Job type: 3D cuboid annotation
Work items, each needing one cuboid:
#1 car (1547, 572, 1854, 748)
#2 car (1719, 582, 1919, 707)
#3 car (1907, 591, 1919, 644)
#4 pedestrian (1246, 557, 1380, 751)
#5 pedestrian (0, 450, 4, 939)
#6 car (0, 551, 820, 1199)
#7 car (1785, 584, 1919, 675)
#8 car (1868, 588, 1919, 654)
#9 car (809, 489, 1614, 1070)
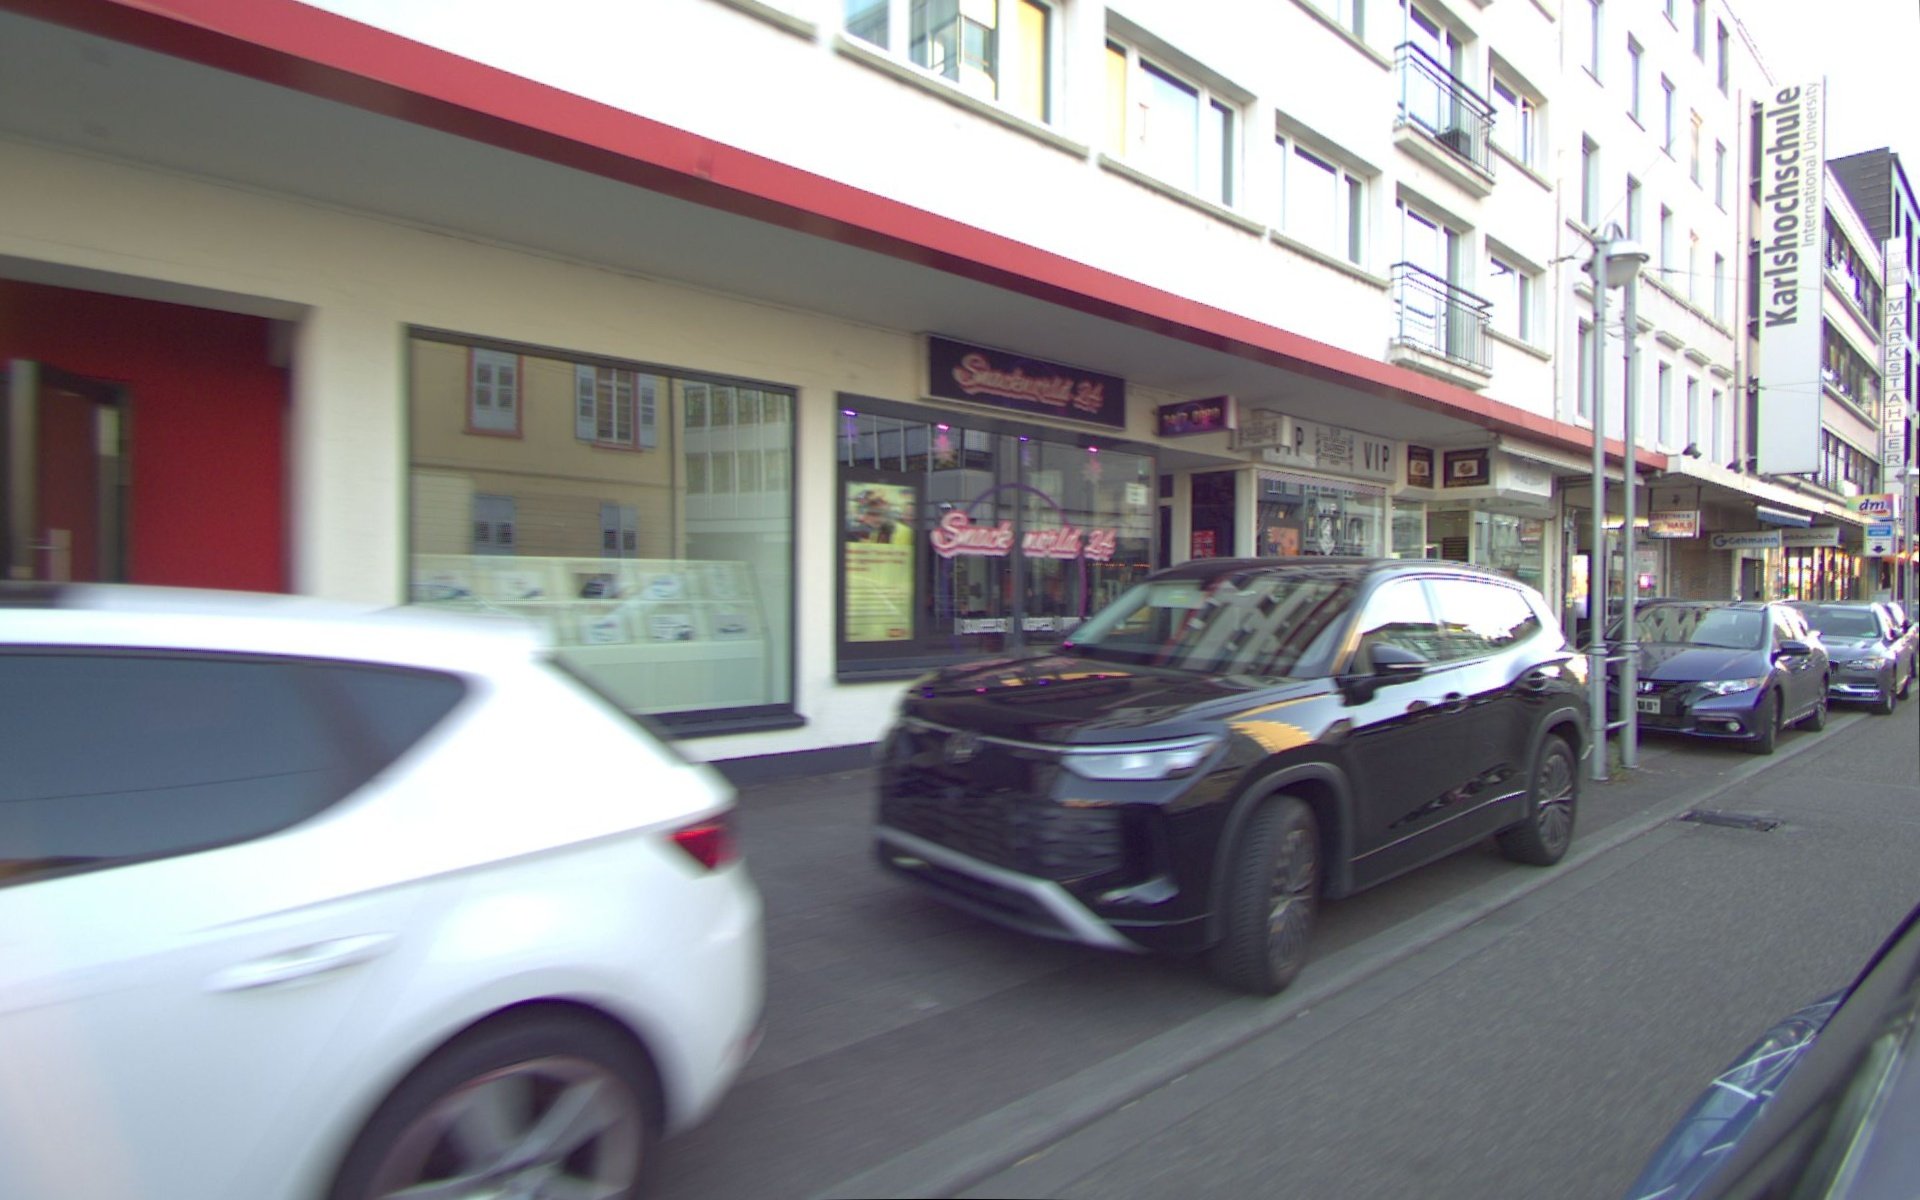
[{"bbox_3d":[8.152,0.536,10.995,4.281,1.542,1.784,0,-1,-41],"label":"car"},{"bbox_3d":[12.776,0.531,14.806,4.774,1.552,1.794,-1,0,-42],"label":"car"},{"bbox_3d":[29.041,0.464,29.550,3.953,1.481,1.657,-1,0,-41],"label":"car"},{"bbox_3d":[3.109,0.434,8.907,0.950,1.593,0.734,0,0,-42],"label":"pedestrian"},{"bbox_3d":[-4.107,0.350,3.660,0.919,1.904,0.775,0,1,-43],"label":"pedestrian"},{"bbox_3d":[-2.410,0.668,1.586,4.118,1.439,1.653,-1,0,-41],"label":"car"},{"bbox_3d":[16.737,0.472,18.655,3.931,1.500,1.728,-1,0,-41],"label":"car"},{"bbox_3d":[23.935,0.468,25.002,4.001,1.532,1.768,-1,0,-41],"label":"car"},{"bbox_3d":[1.579,0.513,5.160,4.342,1.722,1.858,-1,0,-42],"label":"car"}]
